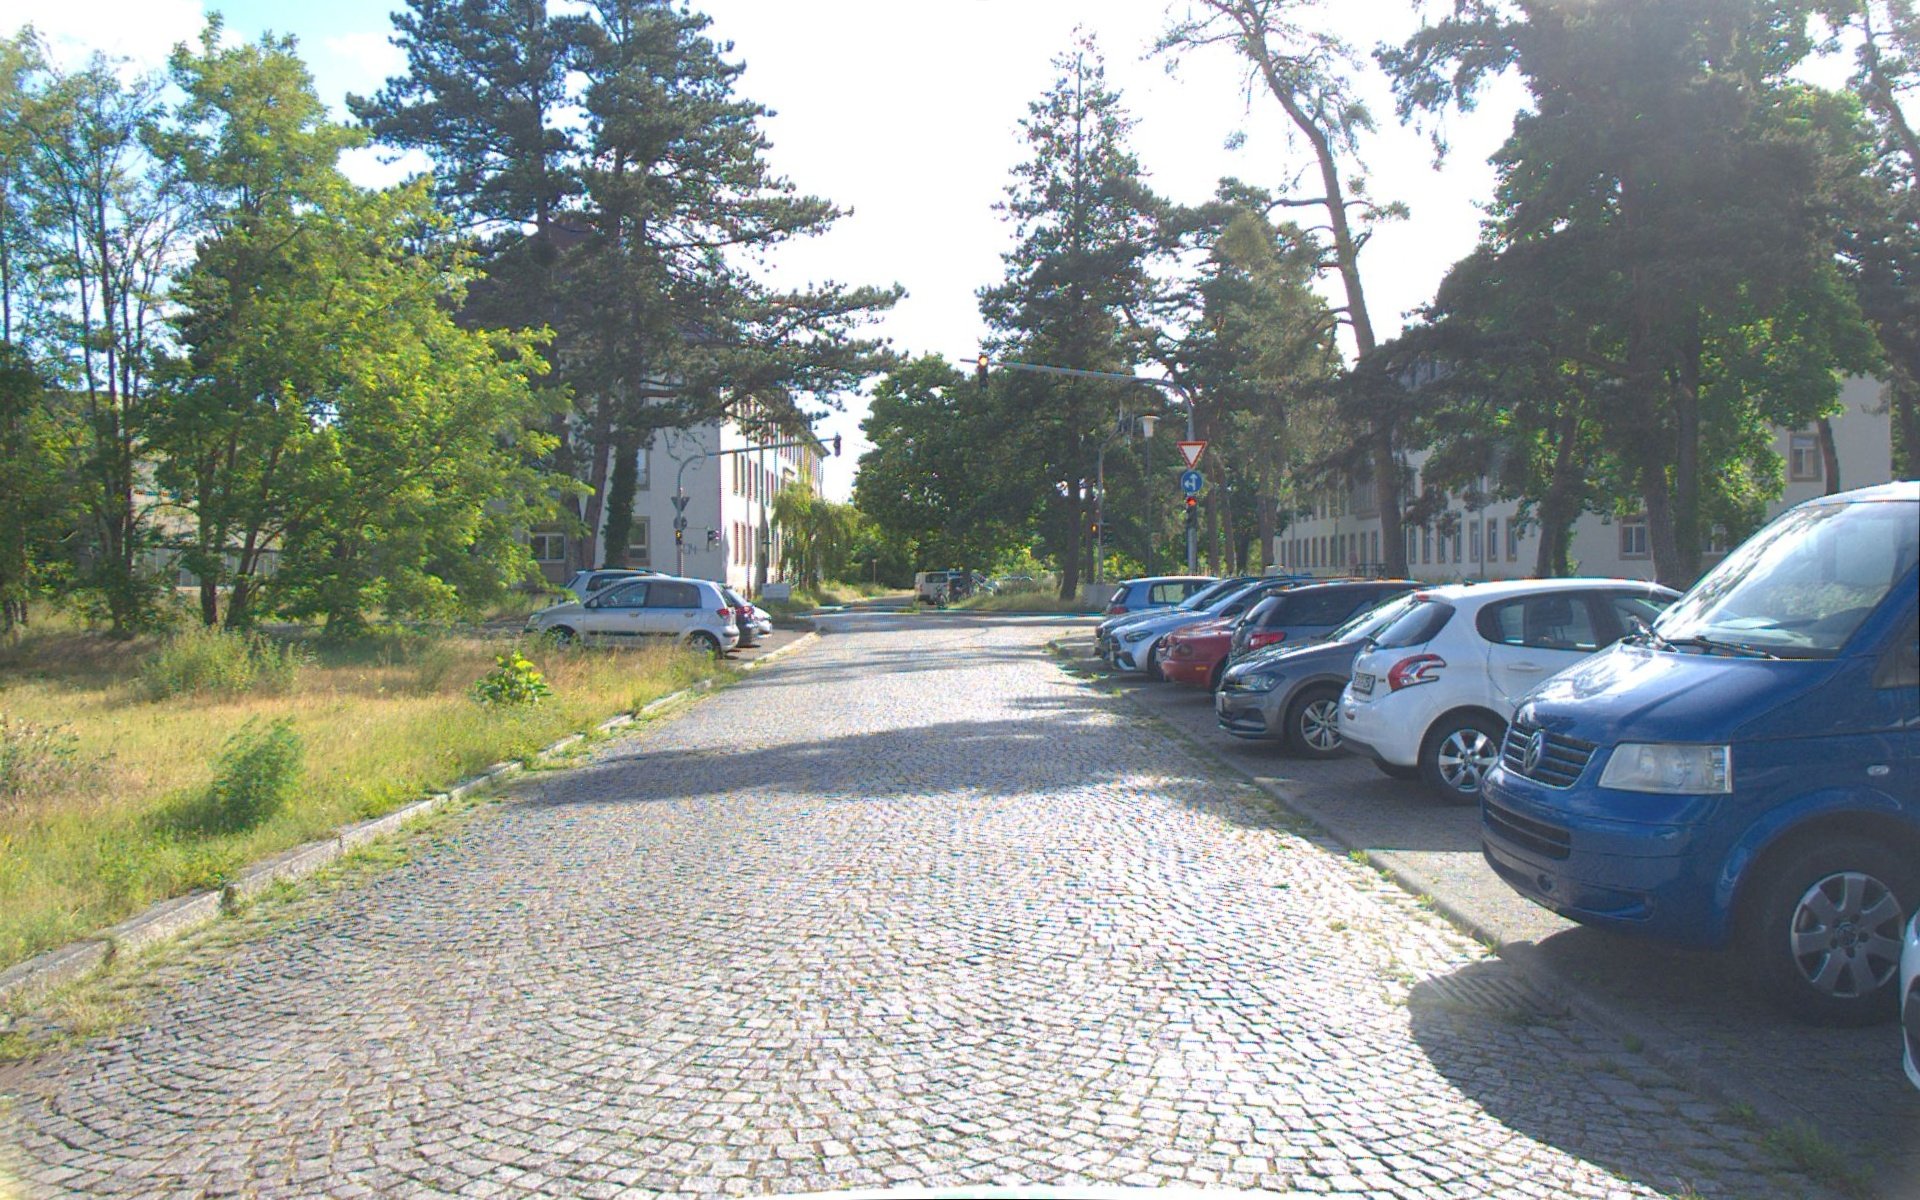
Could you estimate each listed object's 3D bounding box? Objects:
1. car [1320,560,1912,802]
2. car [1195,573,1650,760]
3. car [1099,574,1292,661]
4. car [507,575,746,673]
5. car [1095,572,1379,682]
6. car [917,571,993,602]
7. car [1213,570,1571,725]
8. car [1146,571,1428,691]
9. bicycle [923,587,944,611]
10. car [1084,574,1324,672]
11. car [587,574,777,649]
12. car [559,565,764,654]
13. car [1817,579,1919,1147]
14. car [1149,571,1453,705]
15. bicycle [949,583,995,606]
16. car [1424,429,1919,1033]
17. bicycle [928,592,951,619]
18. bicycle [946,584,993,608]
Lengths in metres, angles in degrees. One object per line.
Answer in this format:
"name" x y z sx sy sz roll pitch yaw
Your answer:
"car" 4.623 0.536 12.021 3.619 1.491 1.645 -2 1 0
"car" 4.069 0.550 14.899 3.601 1.492 1.645 -2 1 -2
"car" 4.300 0.299 30.465 3.276 1.508 1.645 -1 1 -2
"car" -5.868 0.393 29.499 3.908 1.628 1.999 -1 1 -4
"car" 4.142 0.376 25.050 3.955 1.556 1.644 -1 1 -5
"car" -0.329 -0.787 96.842 4.390 1.758 2.000 0 1 -2
"car" 4.578 0.474 17.827 3.408 1.556 1.645 -1 1 -2
"car" 4.460 0.403 22.874 3.530 1.556 1.645 -1 1 -2
"bicycle" -1.296 -0.055 79.337 0.789 1.119 2.177 0 1 -7
"car" 4.046 0.362 27.820 3.758 1.556 1.645 -1 1 -2
"car" -6.202 0.246 37.283 3.906 1.478 2.000 2 1 -2
"car" -6.233 0.176 34.880 3.907 1.629 2.000 3 1 -2
"car" 4.393 0.671 4.161 3.645 1.514 1.644 -1 1 -3
"car" 4.161 0.438 20.511 3.408 1.556 1.645 -1 1 -2
"bicycle" 0.597 -0.285 80.510 2.134 1.119 0.805 0 1 -11
"car" 4.514 0.406 6.820 4.584 2.049 2.082 -1 1 -4
"bicycle" -0.965 0.241 75.903 0.789 1.190 2.177 -2 1 -7
"bicycle" 0.448 -0.190 79.387 2.134 1.119 0.805 0 1 -11
